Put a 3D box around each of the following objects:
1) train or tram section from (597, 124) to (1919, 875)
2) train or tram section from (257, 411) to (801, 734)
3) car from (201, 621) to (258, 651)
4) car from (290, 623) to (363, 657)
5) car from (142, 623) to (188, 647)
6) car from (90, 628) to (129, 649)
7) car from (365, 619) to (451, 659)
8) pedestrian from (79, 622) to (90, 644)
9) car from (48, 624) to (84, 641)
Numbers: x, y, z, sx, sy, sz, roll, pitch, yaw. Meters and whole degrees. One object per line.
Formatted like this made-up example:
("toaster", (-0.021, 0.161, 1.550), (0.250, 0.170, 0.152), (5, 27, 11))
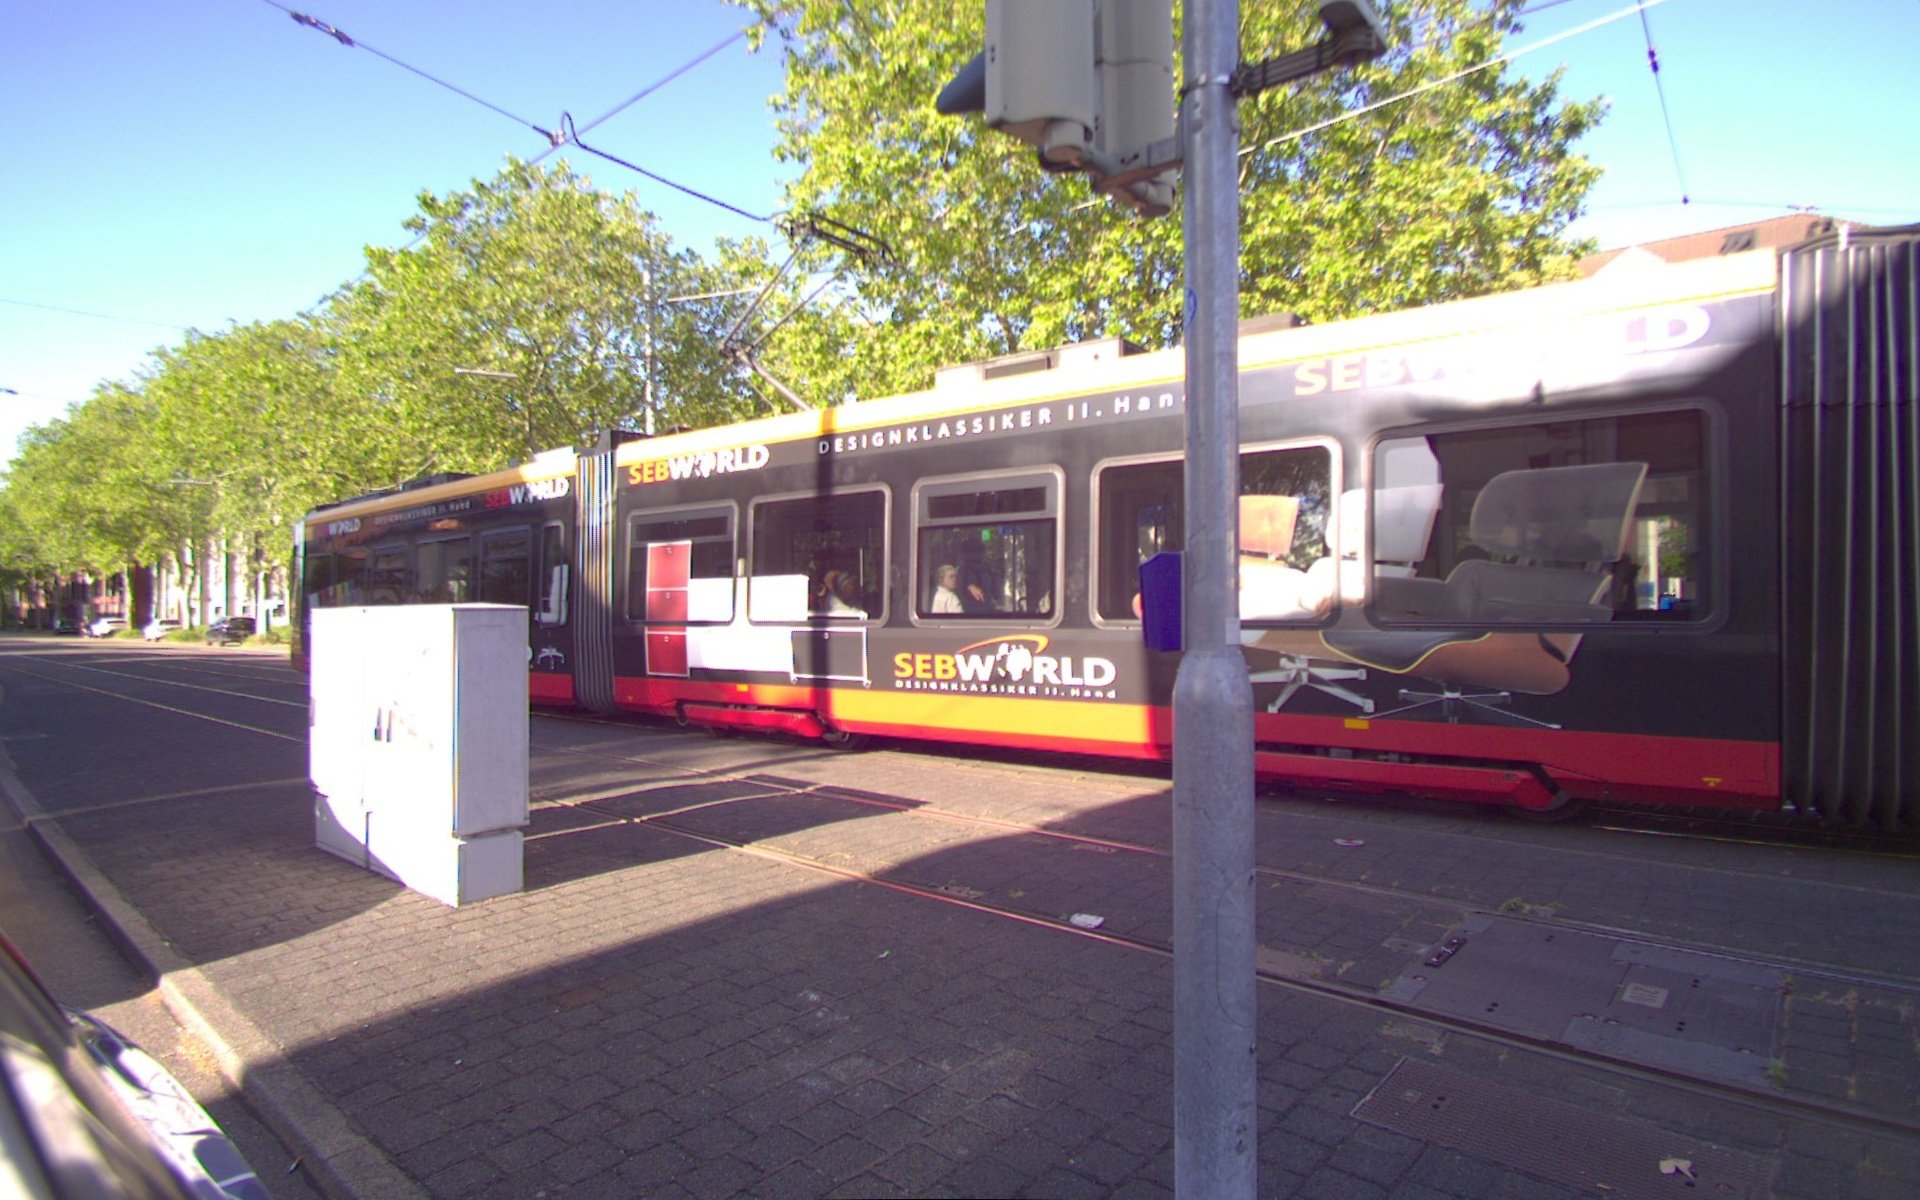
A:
("train or tram section", (1.614, -0.399, 9.017), (11.926, 3.640, 3.028), (-1, -1, 36))
("train or tram section", (-7.981, -0.192, 16.811), (12.882, 3.640, 3.023), (-1, -2, 41))
("car", (-40.783, 1.980, 56.494), (4.000, 1.588, 1.857), (-1, -2, 43))
("car", (-28.972, 1.799, 46.233), (4.000, 1.497, 1.857), (-1, -2, 43))
("car", (-53.732, 2.326, 68.382), (4.000, 1.563, 1.857), (-1, -2, 43))
("car", (-66.903, 3.014, 79.571), (4.000, 1.563, 1.857), (-1, -2, 43))
("car", (-21.915, 1.530, 40.118), (4.000, 1.497, 1.857), (-1, -2, 43))
("pedestrian", (-65.660, 2.477, 75.893), (0.677, 1.654, 0.570), (-1, -2, 43))
("car", (-85.161, 3.060, 96.400), (3.995, 1.563, 1.859), (-1, -1, 38))
